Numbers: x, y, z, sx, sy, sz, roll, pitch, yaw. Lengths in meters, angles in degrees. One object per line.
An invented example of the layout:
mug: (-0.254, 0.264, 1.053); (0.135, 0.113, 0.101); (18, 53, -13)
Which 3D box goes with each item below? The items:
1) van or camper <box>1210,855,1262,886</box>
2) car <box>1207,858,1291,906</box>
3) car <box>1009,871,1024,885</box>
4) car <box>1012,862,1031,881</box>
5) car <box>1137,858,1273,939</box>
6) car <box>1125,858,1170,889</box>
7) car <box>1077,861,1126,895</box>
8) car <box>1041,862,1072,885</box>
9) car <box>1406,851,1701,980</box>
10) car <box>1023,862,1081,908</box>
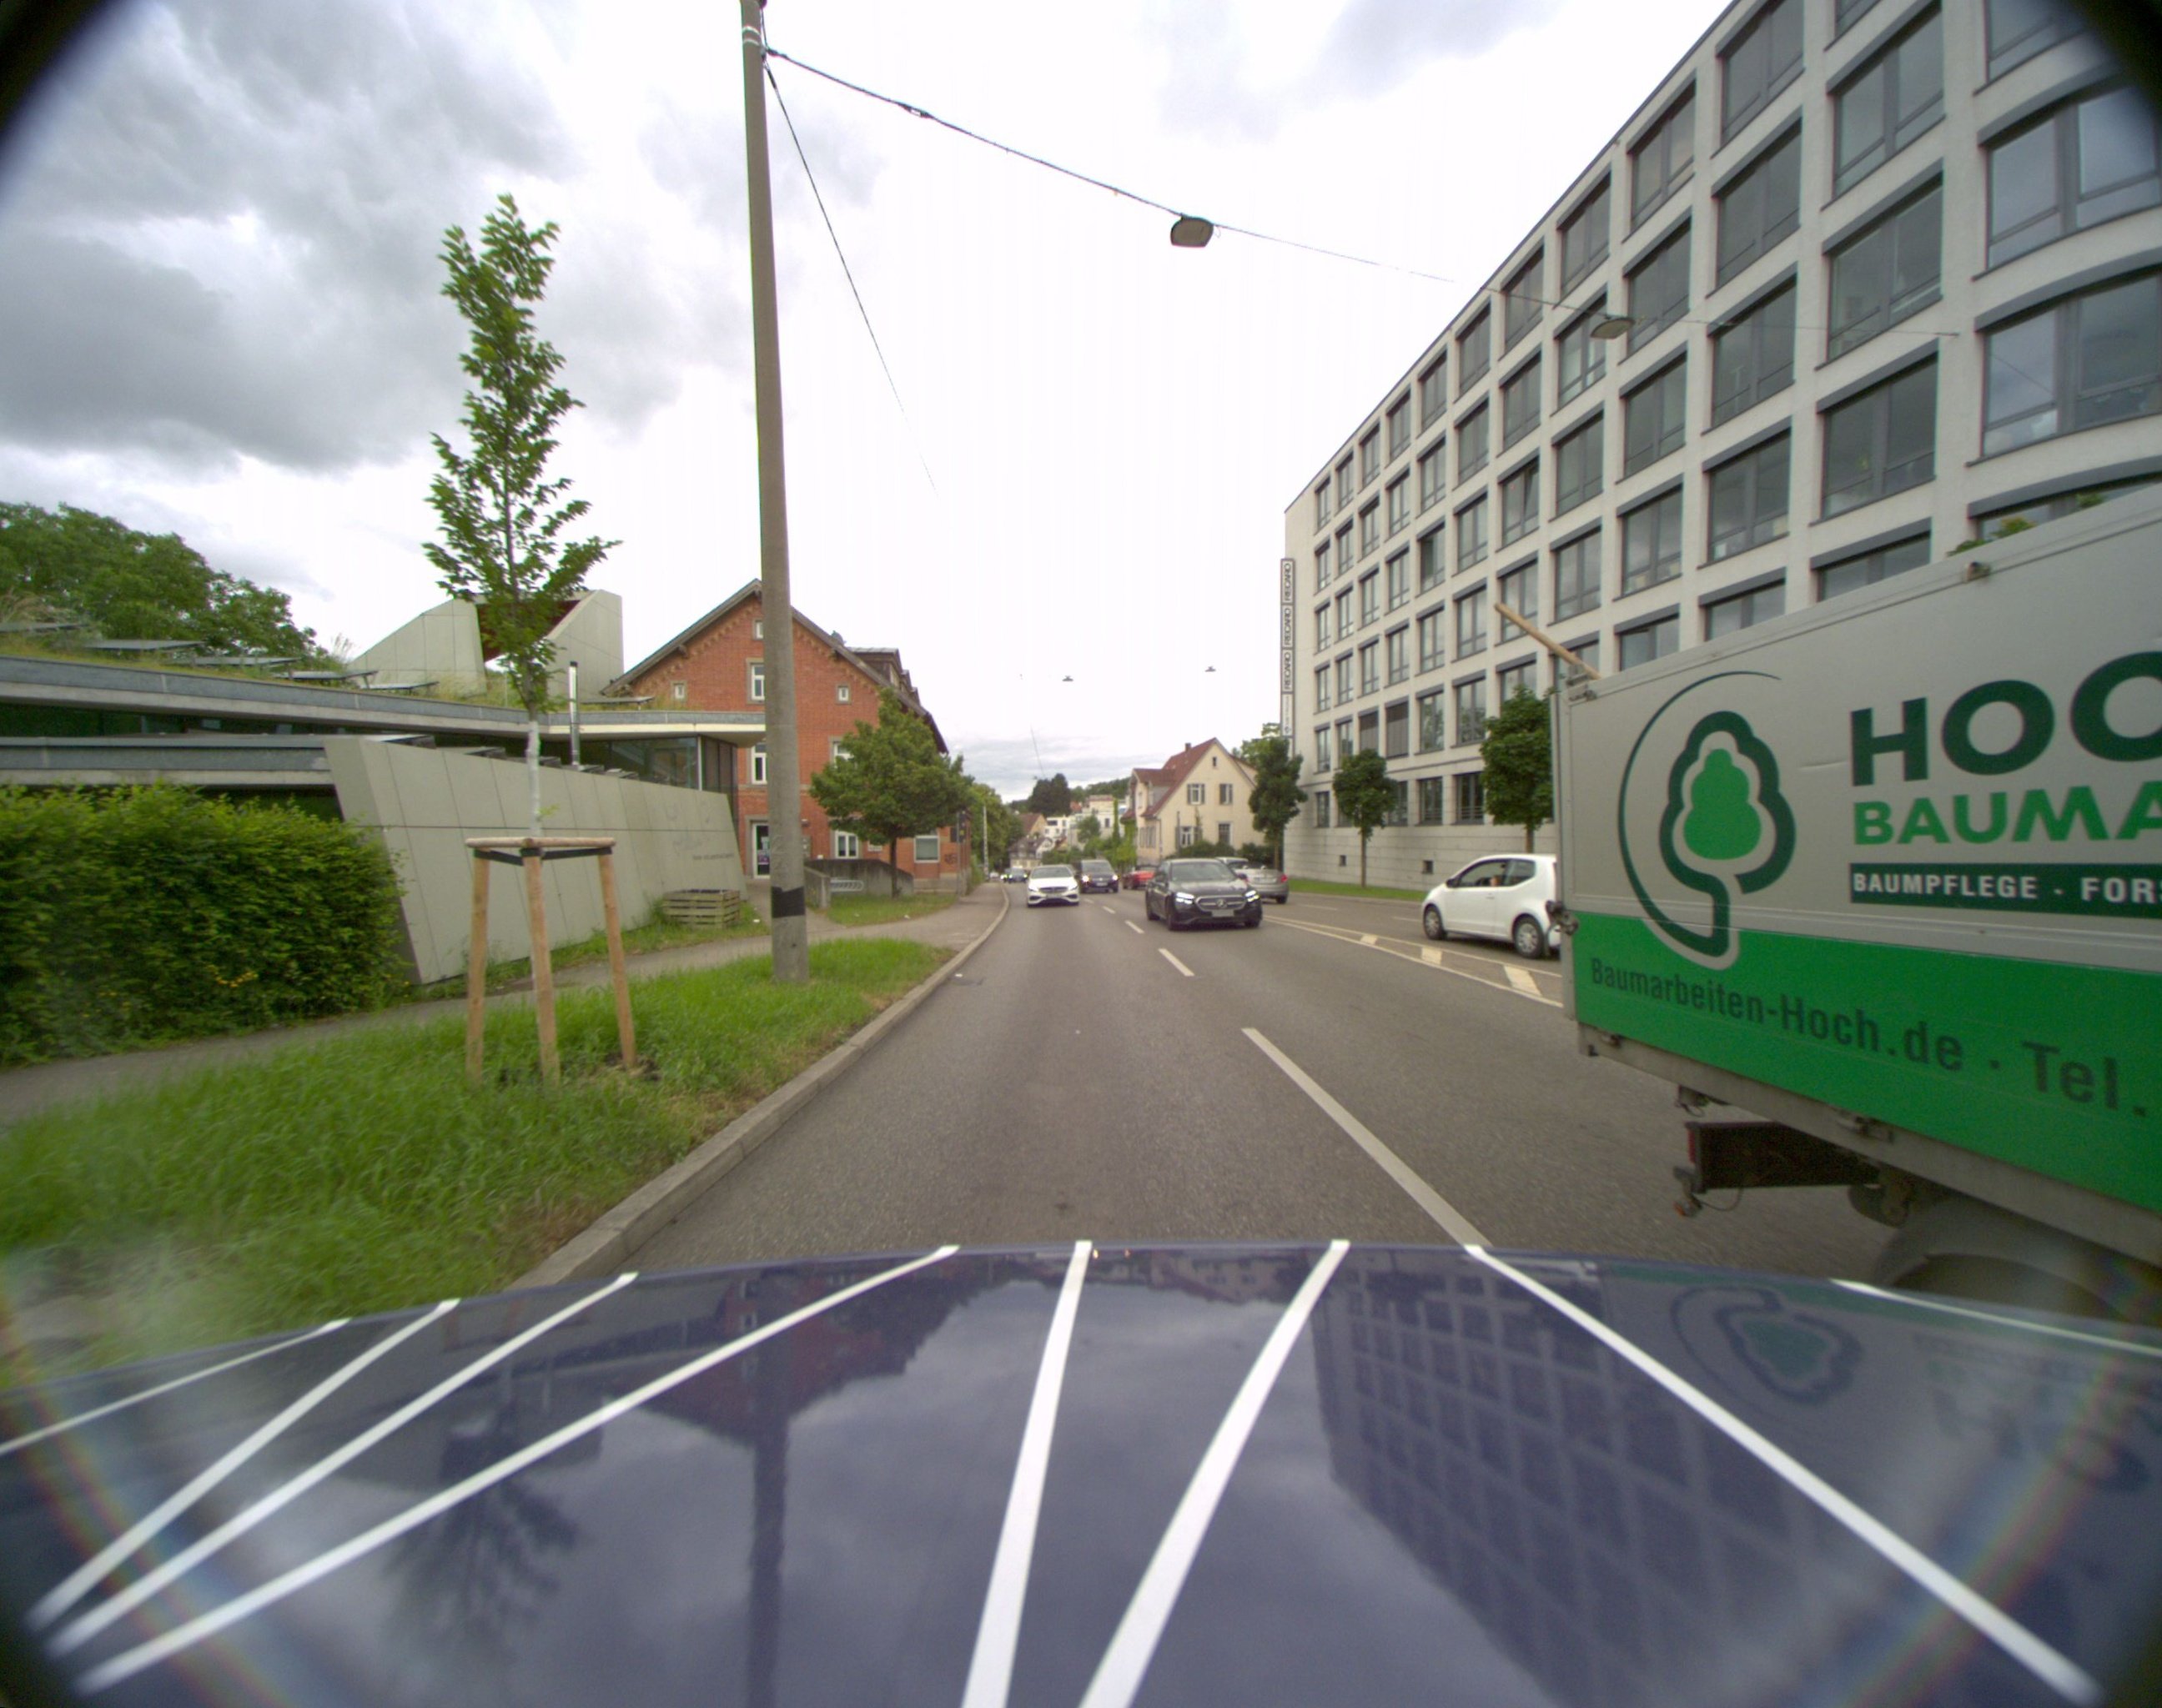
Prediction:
van or camper: (10.341, 1.116, 51.034); (2.066, 1.956, 4.871); (-1, -1, -6)
car: (5.581, 0.886, 25.722); (1.782, 1.472, 3.979); (0, 0, -3)
car: (-8.445, 3.097, 99.091); (1.713, 1.680, 3.790); (-1, 1, -7)
car: (-5.909, 1.701, 75.081); (1.713, 1.680, 3.790); (-1, 1, -7)
car: (2.582, 0.907, 16.936); (1.879, 1.521, 4.334); (-1, -1, -6)
car: (3.617, 1.057, 42.162); (1.776, 1.561, 4.283); (2, -1, -5)
car: (0.973, 1.156, 37.500); (1.879, 1.521, 3.999); (-1, -1, -6)
car: (-1.755, 1.339, 53.117); (1.879, 1.521, 3.999); (-1, -1, -6)
car: (6.715, 0.769, 11.405); (1.782, 1.556, 3.999); (-1, 0, -3)
car: (-1.111, 1.086, 27.433); (1.810, 1.521, 3.999); (-1, -1, -6)
